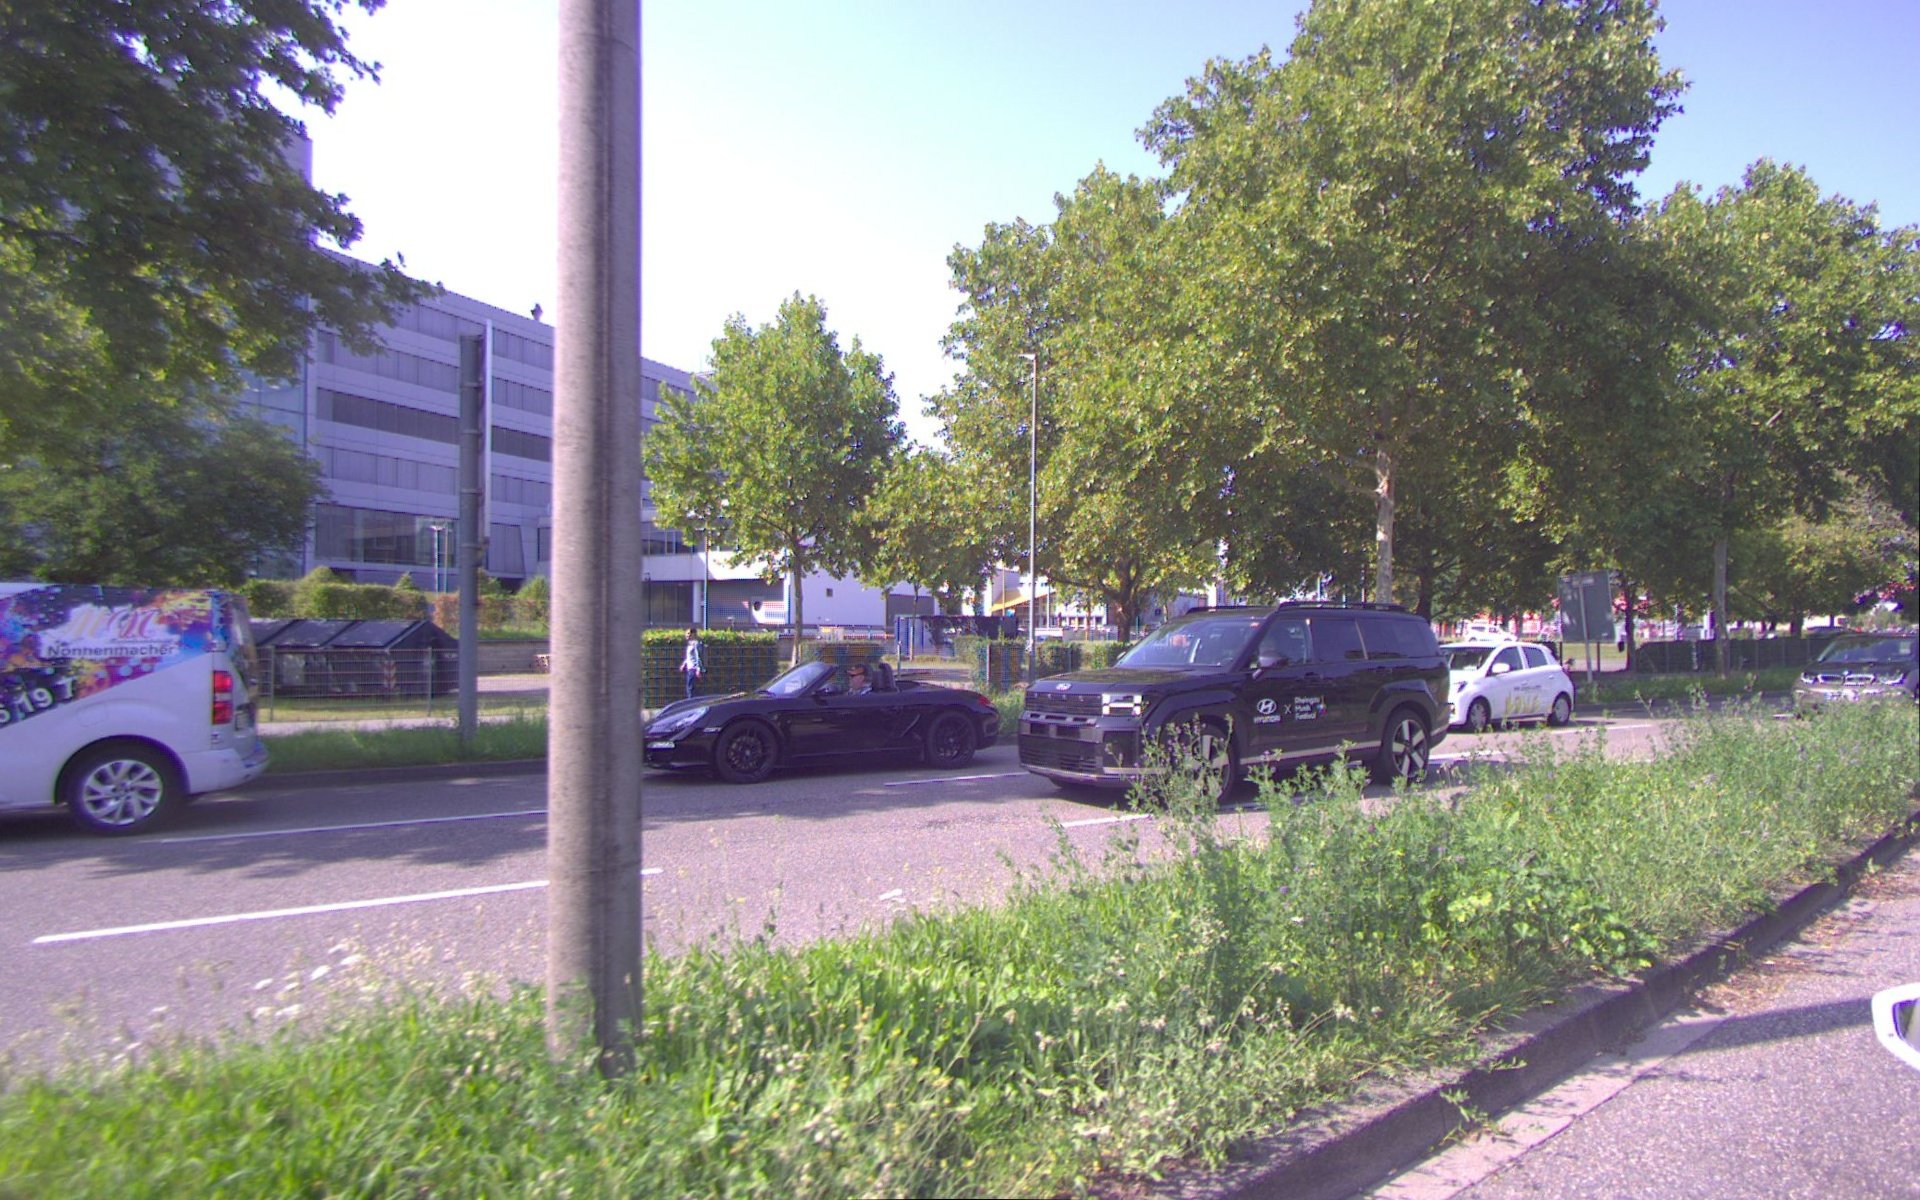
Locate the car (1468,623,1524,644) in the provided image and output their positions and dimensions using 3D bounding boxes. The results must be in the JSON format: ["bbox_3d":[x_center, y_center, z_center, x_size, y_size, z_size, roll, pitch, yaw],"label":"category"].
[{"bbox_3d":[43.961,2.734,82.509,3.924,1.701,1.869,0,-1,24],"label":"car"}]

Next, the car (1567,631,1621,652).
[{"bbox_3d":[50.023,3.259,79.302,3.426,1.601,1.725,-1,-2,25],"label":"car"}]

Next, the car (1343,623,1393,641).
[{"bbox_3d":[35.498,2.771,87.367,3.925,1.565,1.838,-1,-2,26],"label":"car"}]

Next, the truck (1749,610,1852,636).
[{"bbox_3d":[100.457,2.826,120.267,8.845,2.996,3.512,-1,-2,25],"label":"truck"}]

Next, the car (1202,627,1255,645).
[{"bbox_3d":[24.632,3.276,92.173,4.500,1.565,1.870,0,-1,22],"label":"car"}]

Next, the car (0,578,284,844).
[{"bbox_3d":[-8.150,0.818,7.528,4.909,1.882,1.976,1,-4,-29],"label":"car"}]

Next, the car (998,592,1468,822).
[{"bbox_3d":[2.747,0.904,9.834,4.427,1.783,1.983,1,-2,-32],"label":"car"}]

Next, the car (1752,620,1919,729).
[{"bbox_3d":[16.696,1.320,18.365,4.255,1.782,1.985,1,-4,-29],"label":"car"}]

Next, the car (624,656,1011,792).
[{"bbox_3d":[-1.605,1.303,11.512,4.043,1.279,1.784,1,-3,-28],"label":"car"}]

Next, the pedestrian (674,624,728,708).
[{"bbox_3d":[-5.341,1.345,20.704,0.922,1.674,0.614,1,-1,-30],"label":"pedestrian"}]

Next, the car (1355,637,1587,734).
[{"bbox_3d":[8.895,1.393,17.425,3.954,1.501,1.782,1,-2,-31],"label":"car"}]
